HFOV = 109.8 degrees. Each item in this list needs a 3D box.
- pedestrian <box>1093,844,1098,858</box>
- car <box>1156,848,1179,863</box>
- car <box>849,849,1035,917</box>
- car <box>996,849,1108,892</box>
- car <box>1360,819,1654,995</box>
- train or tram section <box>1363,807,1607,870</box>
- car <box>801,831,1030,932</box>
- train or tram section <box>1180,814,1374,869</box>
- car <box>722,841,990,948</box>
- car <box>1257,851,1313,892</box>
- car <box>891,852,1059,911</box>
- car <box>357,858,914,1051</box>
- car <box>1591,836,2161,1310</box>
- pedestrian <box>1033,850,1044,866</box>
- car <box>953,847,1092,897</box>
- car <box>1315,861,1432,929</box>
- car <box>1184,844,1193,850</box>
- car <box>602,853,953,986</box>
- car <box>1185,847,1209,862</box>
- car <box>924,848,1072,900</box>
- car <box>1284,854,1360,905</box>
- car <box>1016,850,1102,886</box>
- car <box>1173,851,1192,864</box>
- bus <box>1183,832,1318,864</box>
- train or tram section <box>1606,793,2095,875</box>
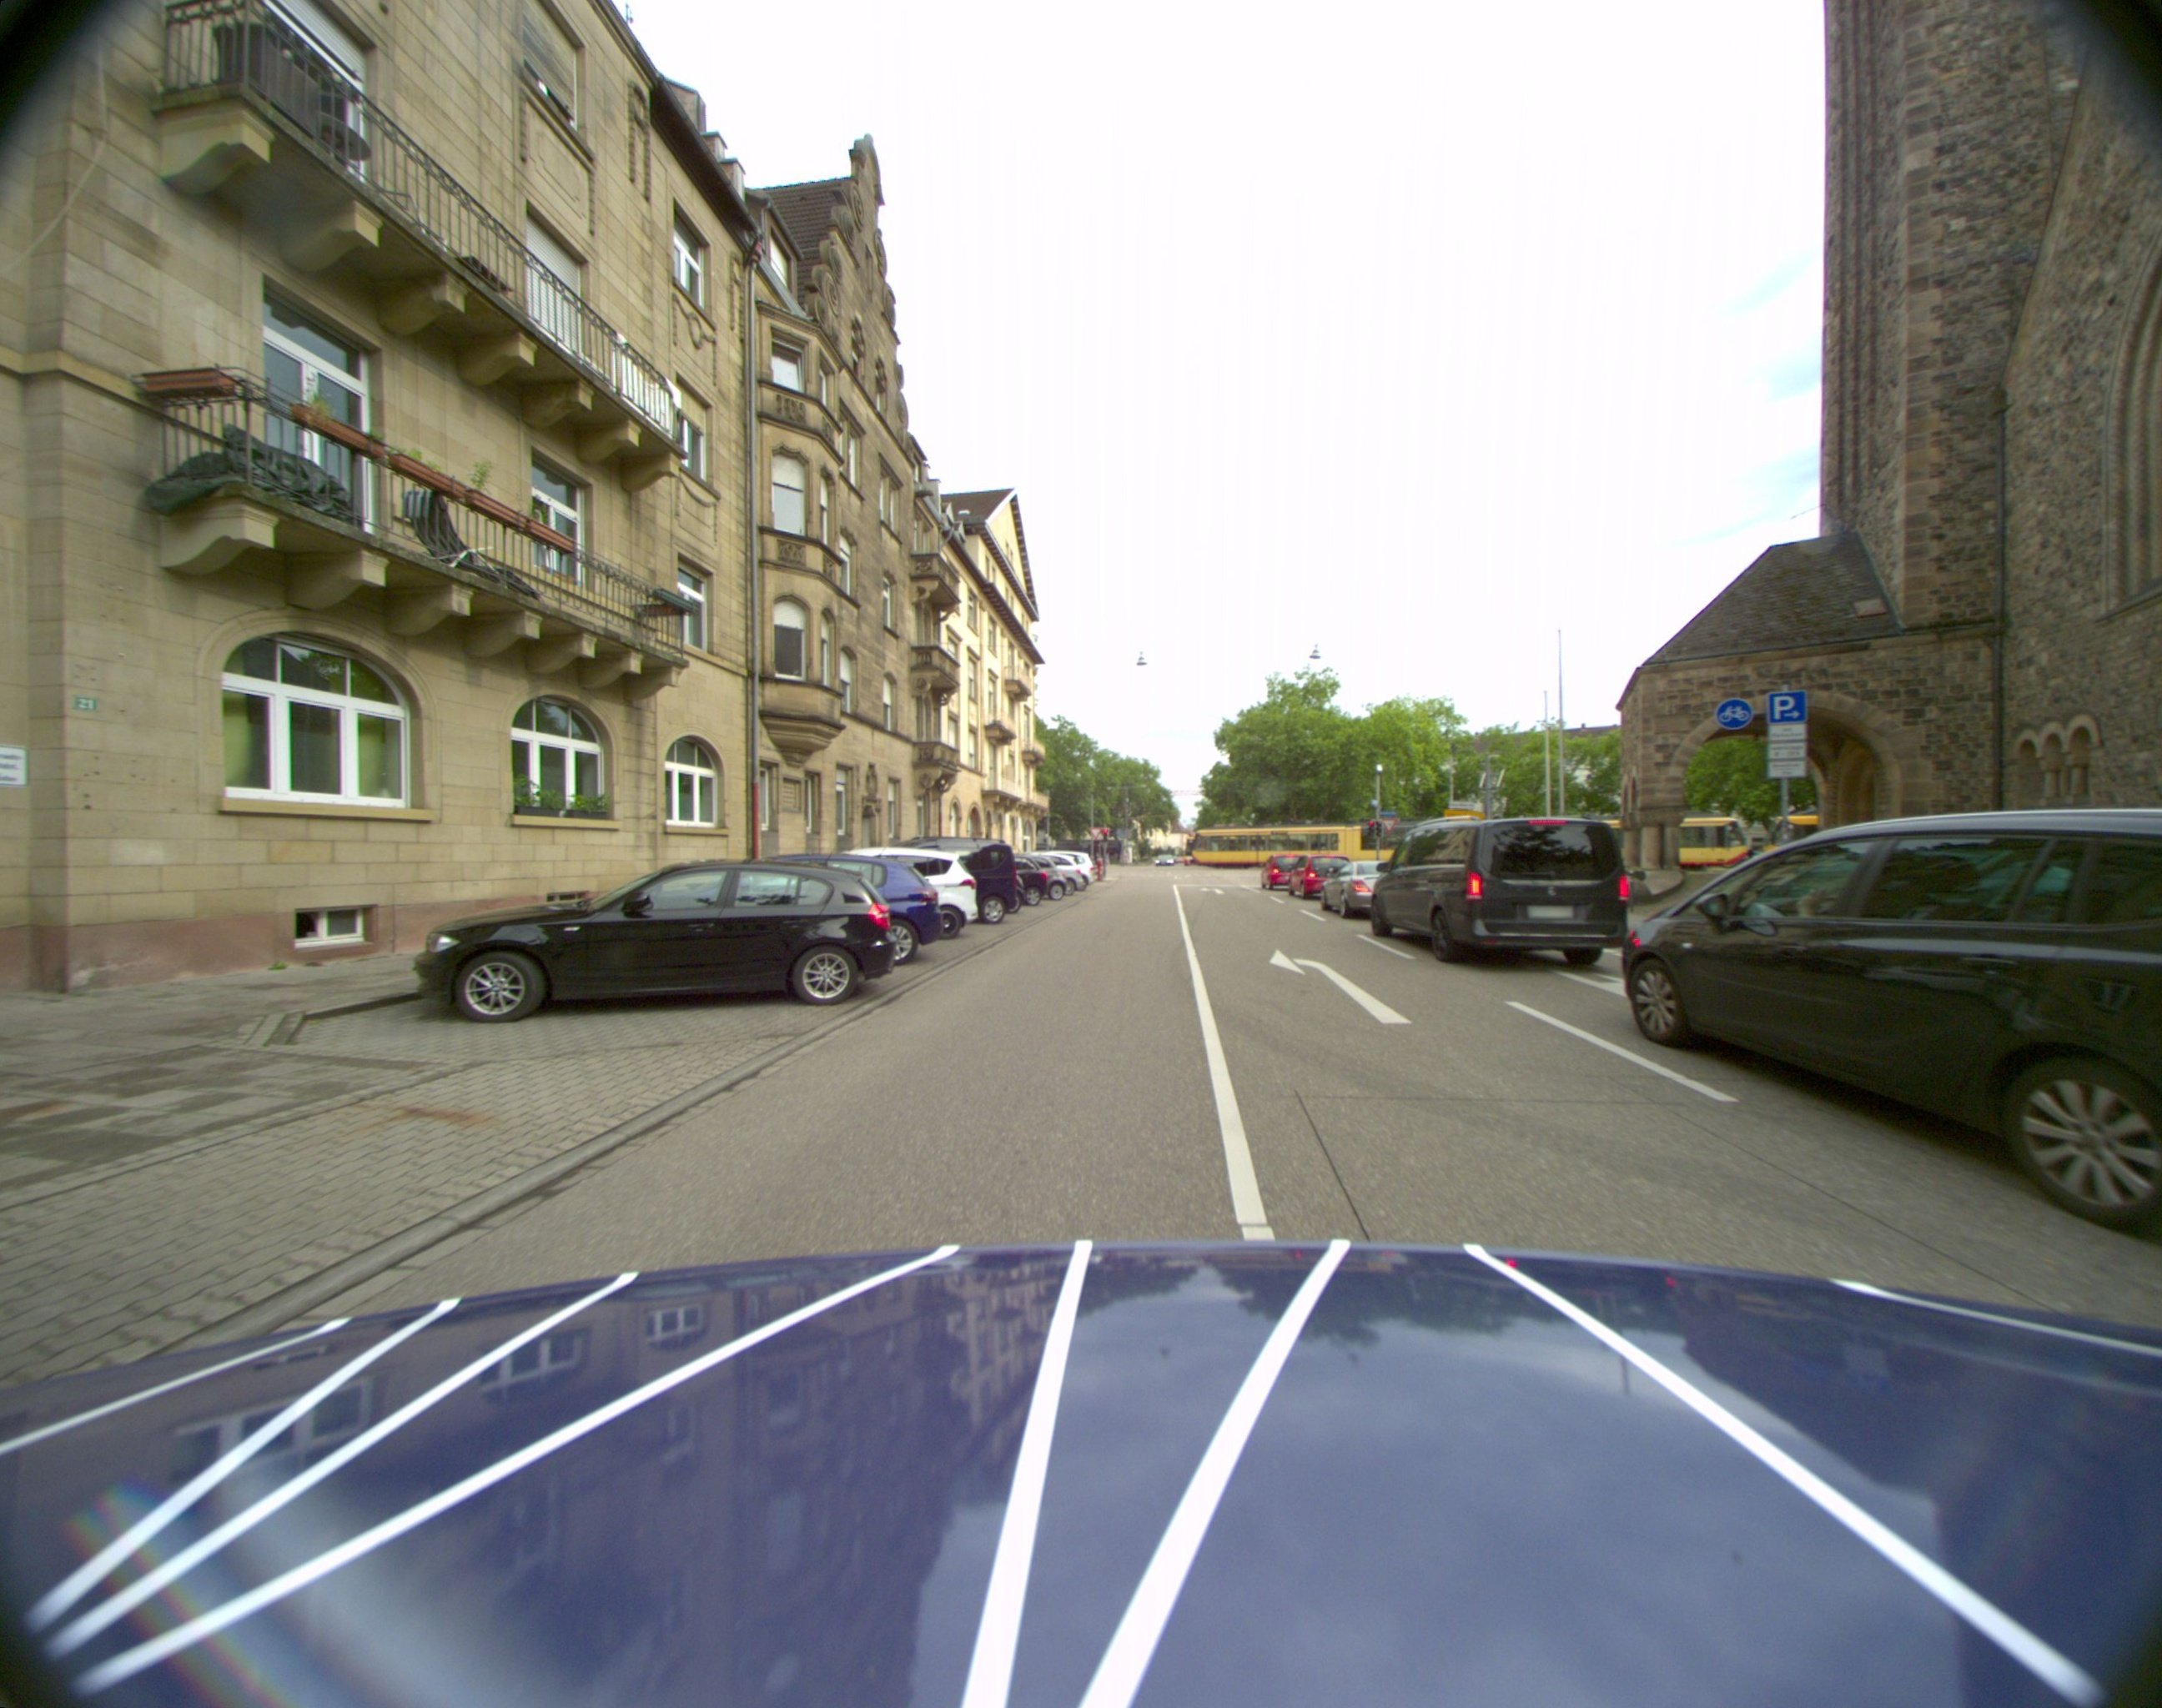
[{"bbox_3d":[1.674,-0.405,87.961,0.524,1.603,0.527,-1,2,-1],"label":"pedestrian"},{"bbox_3d":[10.897,0.235,95.520,1.660,1.708,3.747,0,-2,25],"label":"car"},{"bbox_3d":[-3.484,0.736,19.138,4.079,1.445,2.026,3,0,-32],"label":"car"},{"bbox_3d":[-1.201,0.674,31.780,4.231,1.673,1.911,1,1,-27],"label":"car"},{"bbox_3d":[5.721,0.599,11.143,1.916,1.943,5.286,-1,0,7],"label":"car"},{"bbox_3d":[28.407,-1.029,54.328,14.996,4.070,3.588,0,2,33],"label":"train or tram section"},{"bbox_3d":[-3.441,0.590,16.132,4.291,1.895,1.874,3,-1,-34],"label":"car"},{"bbox_3d":[15.815,-0.997,62.559,14.996,4.070,3.661,0,2,33],"label":"train or tram section"},{"bbox_3d":[-3.803,0.674,13.052,4.008,1.592,1.761,3,-1,-33],"label":"car"},{"bbox_3d":[8.245,0.698,31.041,1.652,1.519,3.896,2,0,7],"label":"car"},{"bbox_3d":[-3.060,0.758,22.214,4.473,1.543,1.847,1,1,-32],"label":"car"},{"bbox_3d":[-4.012,0.879,7.567,4.267,1.469,1.681,3,-1,-26],"label":"car"},{"bbox_3d":[4.910,0.760,4.001,1.848,1.674,4.551,-1,0,7],"label":"car"},{"bbox_3d":[-4.390,0.424,78.889,0.876,1.686,0.744,0,2,32],"label":"pedestrian"},{"bbox_3d":[-2.142,0.681,28.344,4.760,1.676,1.931,2,1,-29],"label":"car"},{"bbox_3d":[6.733,0.875,17.917,1.707,1.279,4.044,2,1,9],"label":"car"},{"bbox_3d":[33.290,-2.147,235.361,1.995,2.002,4.005,0,2,22],"label":"car"},{"bbox_3d":[-3.980,0.839,10.380,4.005,1.525,1.928,3,-1,-22],"label":"car"},{"bbox_3d":[14.316,0.104,93.753,1.908,1.708,3.747,0,-2,25],"label":"car"},{"bbox_3d":[-2.689,0.670,25.055,4.474,1.564,1.743,3,0,-32],"label":"car"},{"bbox_3d":[7.818,0.759,24.964,1.605,1.448,3.719,2,1,6],"label":"car"},{"bbox_3d":[-1.042,0.690,37.150,3.843,1.552,1.789,3,1,-39],"label":"car"},{"bbox_3d":[13.796,0.523,103.255,1.660,1.708,3.746,0,-2,22],"label":"car"},{"bbox_3d":[16.205,-0.563,73.345,12.345,2.840,3.298,0,2,32],"label":"bus"},{"bbox_3d":[43.150,-1.058,44.807,19.891,4.070,3.634,0,2,33],"label":"train or tram section"}]
